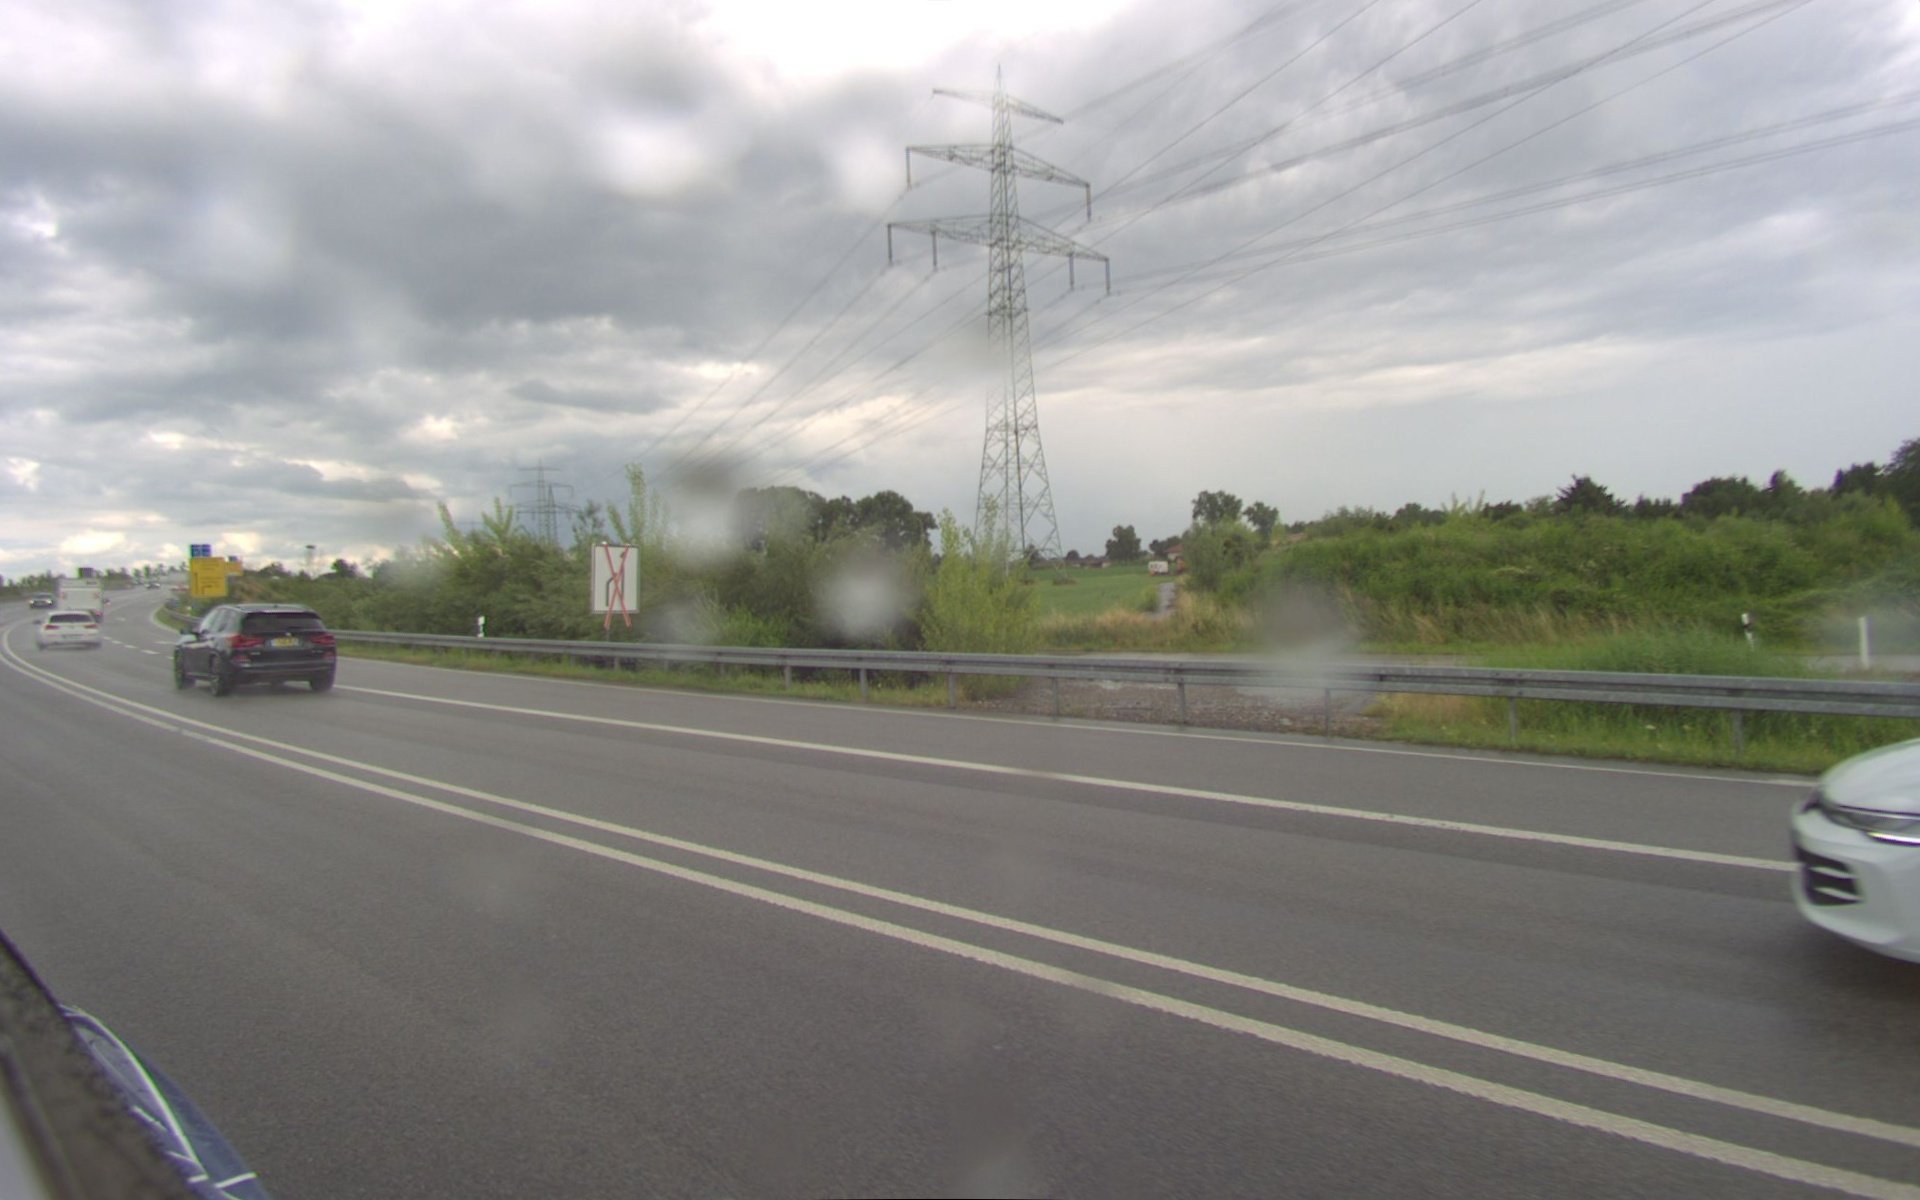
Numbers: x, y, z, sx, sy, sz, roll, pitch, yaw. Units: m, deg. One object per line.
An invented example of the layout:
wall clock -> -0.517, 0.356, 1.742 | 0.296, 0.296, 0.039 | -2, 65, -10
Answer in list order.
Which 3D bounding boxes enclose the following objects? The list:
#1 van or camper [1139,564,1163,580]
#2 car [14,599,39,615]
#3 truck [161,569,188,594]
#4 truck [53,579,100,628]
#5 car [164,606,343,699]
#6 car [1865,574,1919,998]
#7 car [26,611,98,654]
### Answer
van or camper -> 35.055, -5.123, 185.347 | 2.321, 2.651, 5.656 | 0, 4, 32
car -> -90.867, 0.700, 98.495 | 1.723, 1.508, 4.054 | -2, 0, -43
truck -> -112.087, -2.604, 144.522 | 2.447, 3.317, 7.300 | 1, -1, -34
truck -> -59.488, 0.254, 68.203 | 2.228, 3.180, 6.700 | 1, -1, -41
car -> -13.647, 0.942, 19.462 | 4.256, 1.587, 1.781 | -1, -1, 40
car -> 5.668, 0.648, 2.799 | 4.605, 1.491, 1.689 | 0, 0, 39
car -> -34.011, 1.194, 38.297 | 4.075, 1.468, 1.661 | 0, 1, 43
